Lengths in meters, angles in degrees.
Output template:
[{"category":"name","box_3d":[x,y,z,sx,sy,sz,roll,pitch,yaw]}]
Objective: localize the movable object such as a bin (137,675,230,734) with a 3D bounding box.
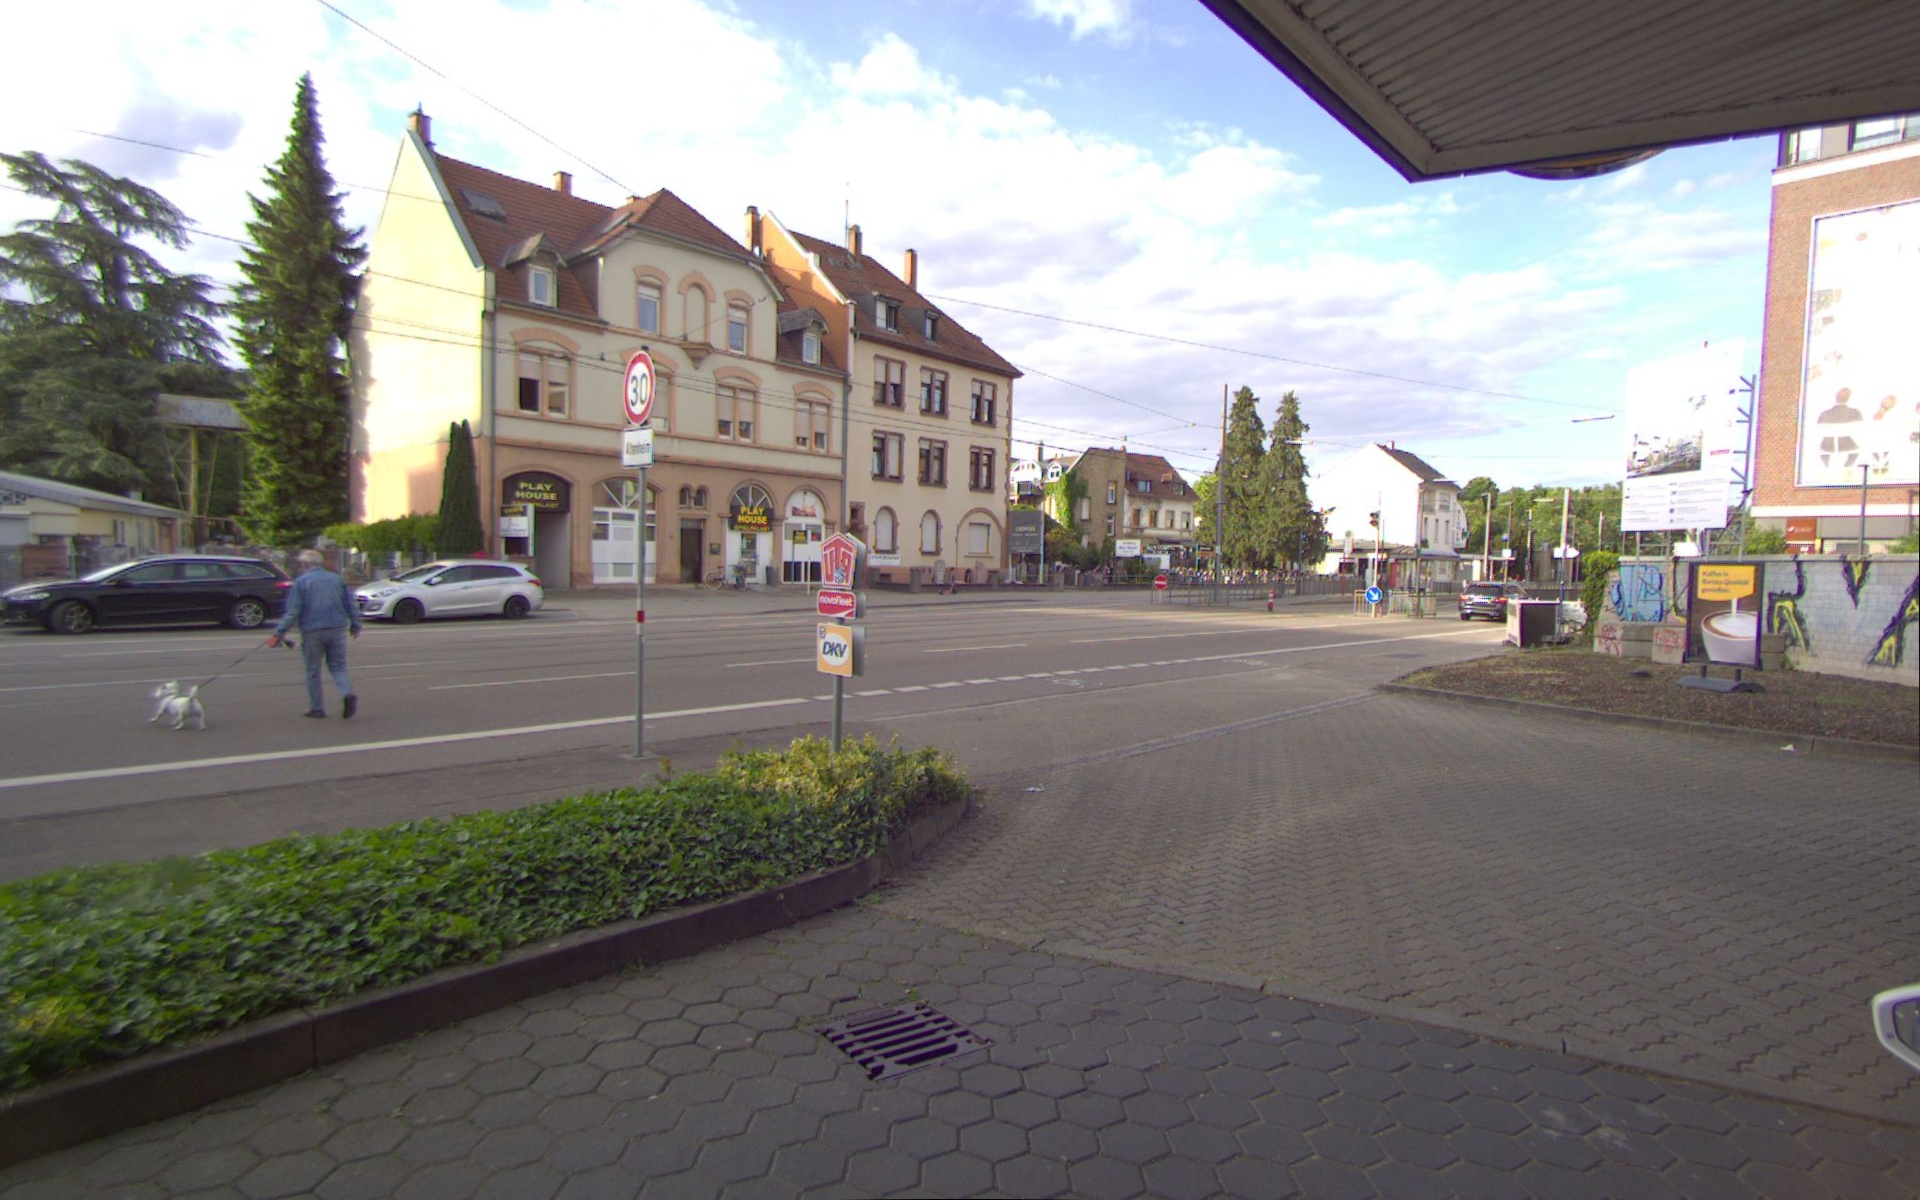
[{"category":"movable object such as a bin","box_3d":[-7.331,0.975,9.487,0.668,0.426,0.480,5,4,30]}]

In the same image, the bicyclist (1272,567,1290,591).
[{"category":"bicyclist","box_3d":[20.604,-1.356,64.452,0.670,1.555,1.079,2,2,41]}]

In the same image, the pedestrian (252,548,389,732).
[{"category":"pedestrian","box_3d":[-6.411,0.360,10.060,0.996,1.690,0.959,0,4,-42]}]

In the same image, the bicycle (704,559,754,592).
[{"category":"bicycle","box_3d":[-9.095,-0.949,39.607,0.665,1.229,1.862,4,2,41]}]

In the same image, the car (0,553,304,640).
[{"category":"car","box_3d":[-16.590,-0.135,20.732,1.983,1.520,4.755,4,4,39]}]

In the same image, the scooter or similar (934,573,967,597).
[{"category":"scooter or similar","box_3d":[-0.424,-0.657,45.108,0.461,1.041,1.655,4,3,40]}]

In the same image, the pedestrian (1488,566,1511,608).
[{"category":"pedestrian","box_3d":[26.593,-0.634,49.522,0.797,2.040,0.846,2,0,42]}]

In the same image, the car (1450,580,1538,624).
[{"category":"car","box_3d":[20.036,0.036,37.575,1.730,1.488,4.543,4,3,43]}]

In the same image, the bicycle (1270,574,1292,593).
[{"category":"bicycle","box_3d":[20.598,-1.072,64.457,0.670,1.239,1.909,2,2,41]}]

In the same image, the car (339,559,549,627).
[{"category":"car","box_3d":[-12.909,-0.230,25.353,1.699,1.503,4.434,4,4,40]}]
